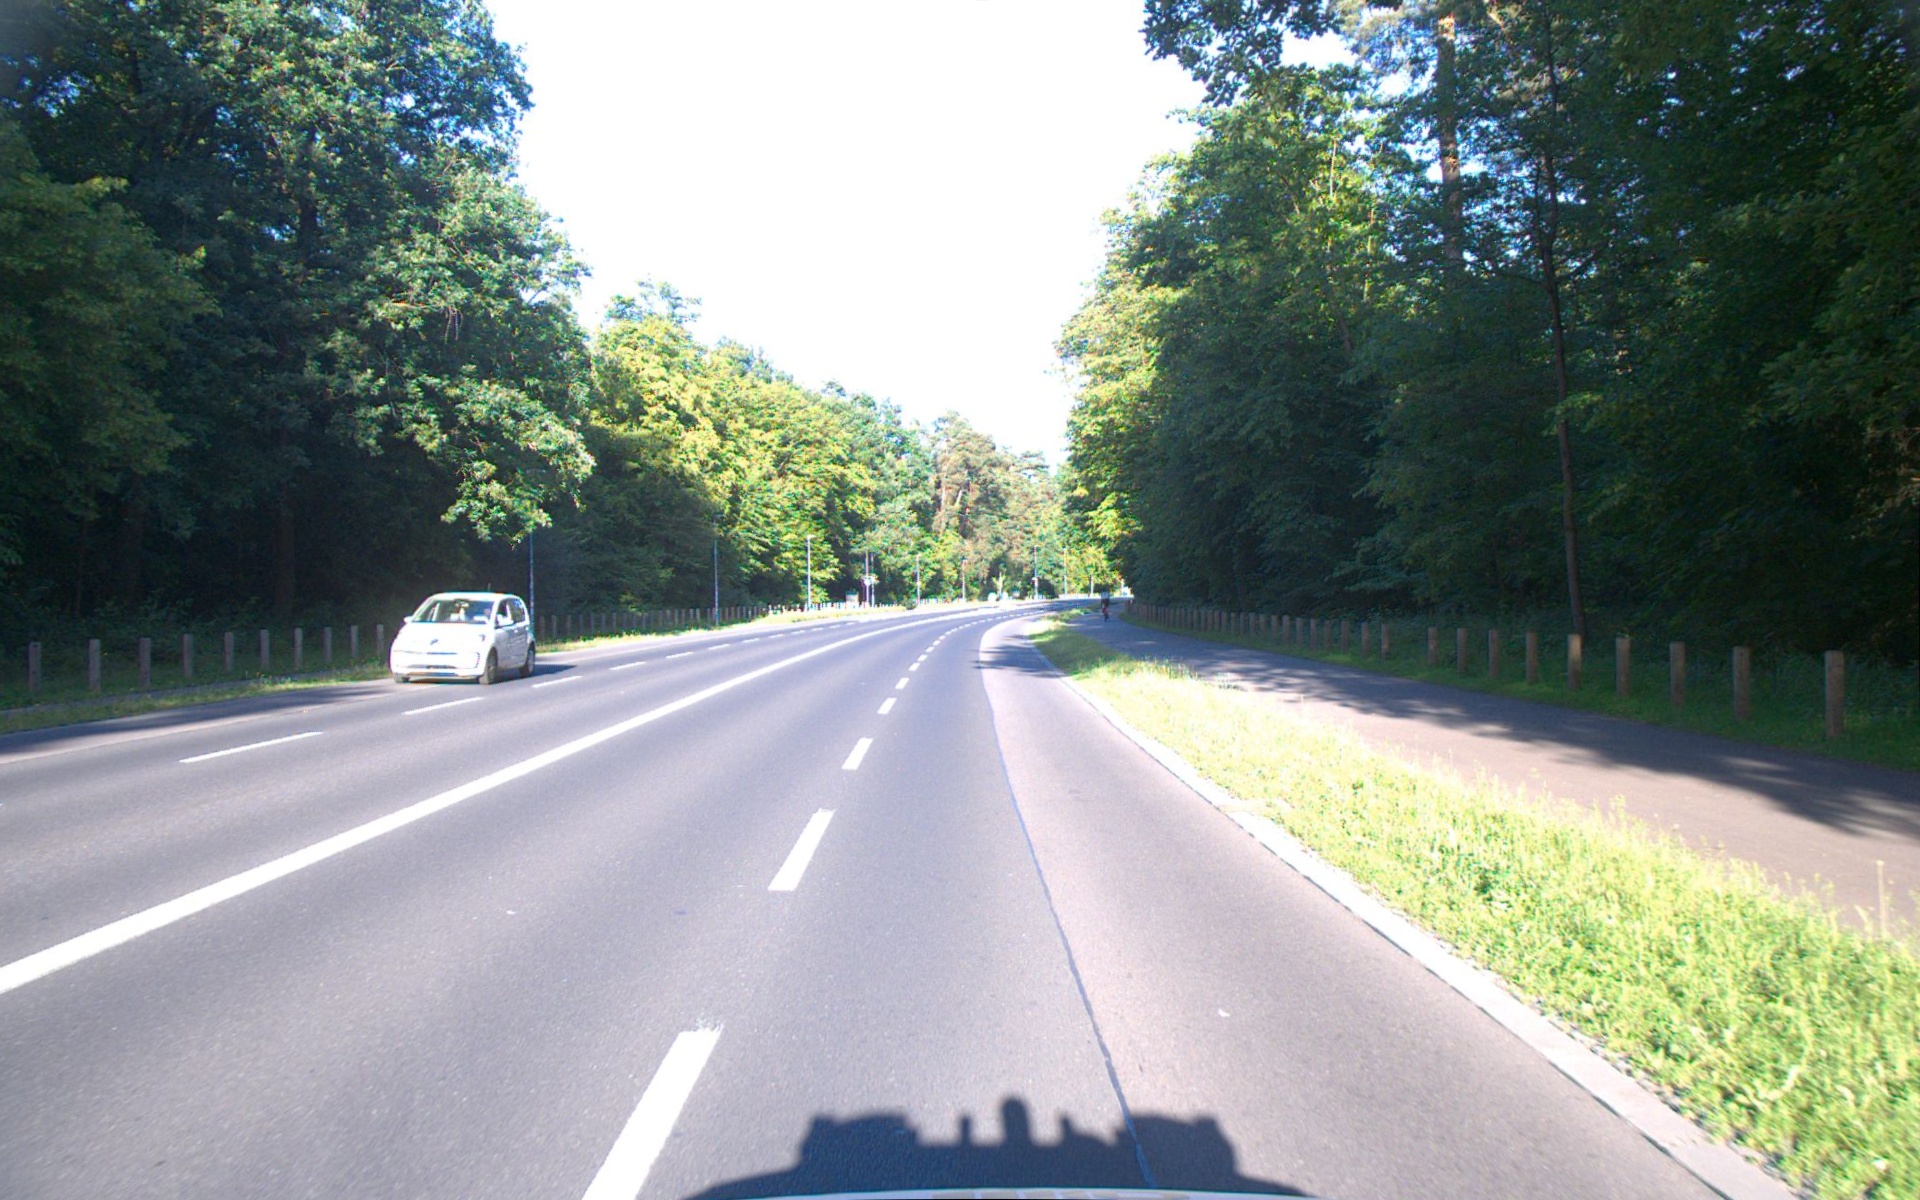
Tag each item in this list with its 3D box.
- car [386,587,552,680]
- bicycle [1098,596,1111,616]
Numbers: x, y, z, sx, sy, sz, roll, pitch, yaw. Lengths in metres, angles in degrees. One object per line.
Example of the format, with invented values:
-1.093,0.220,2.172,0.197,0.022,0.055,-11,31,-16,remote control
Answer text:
-8.405,0.530,28.689,1.555,1.462,4.309,1,0,0,car
7.733,0.306,88.554,0.697,1.074,2.054,0,0,5,bicycle
